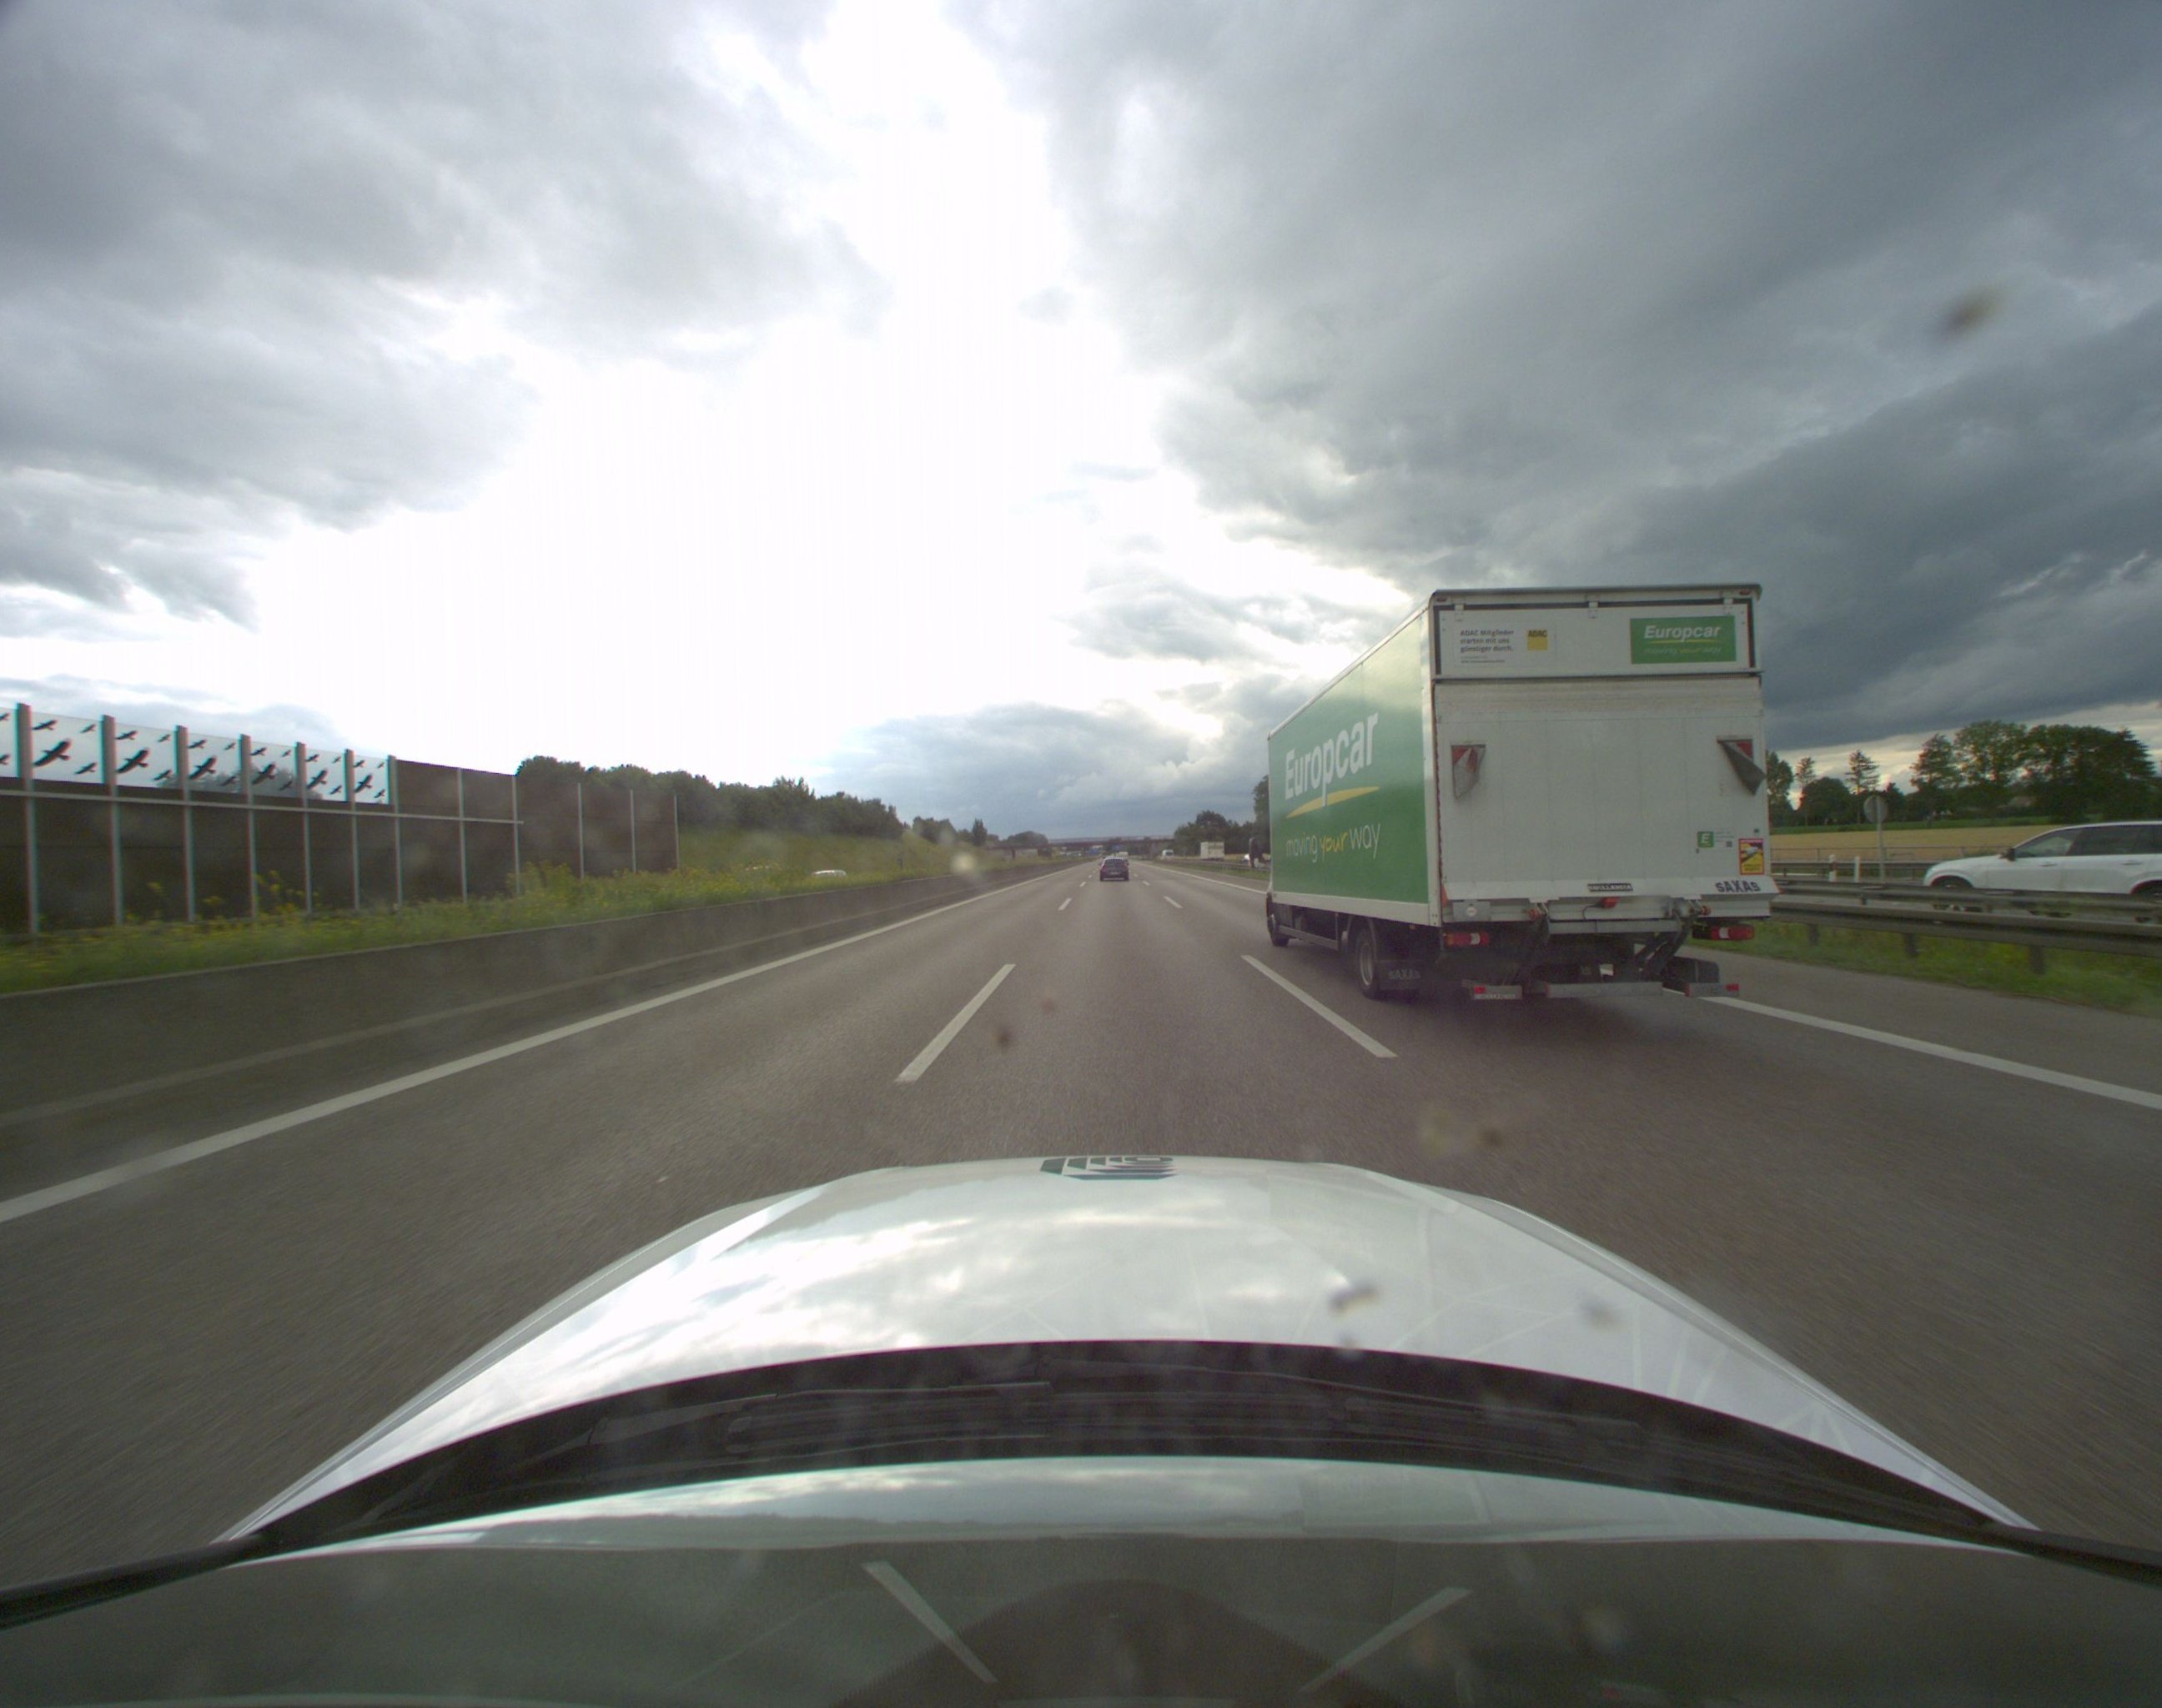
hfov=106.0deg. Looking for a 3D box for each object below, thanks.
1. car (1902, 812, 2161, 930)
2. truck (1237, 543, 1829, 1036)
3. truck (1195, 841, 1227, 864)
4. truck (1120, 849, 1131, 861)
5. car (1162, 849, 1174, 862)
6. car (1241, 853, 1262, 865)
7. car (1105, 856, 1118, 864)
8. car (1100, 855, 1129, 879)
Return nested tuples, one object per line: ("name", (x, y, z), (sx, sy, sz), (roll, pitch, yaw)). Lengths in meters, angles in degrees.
("car", (17.018, 0.225, 13.474), (1.821, 1.757, 5.068), (-2, 0, 2))
("truck", (4.110, -0.459, 10.397), (2.759, 3.504, 9.066), (-1, 0, 2))
("truck", (20.473, -0.256, 128.458), (3.098, 3.471, 8.879), (0, 0, -3))
("truck", (11.816, 0.238, 217.365), (2.700, 2.964, 12.451), (0, 0, 2))
("car", (18.480, 0.374, 173.041), (2.213, 2.568, 6.259), (-2, 0, 2))
("car", (23.201, 0.681, 110.980), (1.911, 1.550, 4.923), (-3, 0, 0))
("car", (4.959, 0.979, 133.663), (1.986, 1.298, 4.001), (-3, 0, 1))
("car", (2.079, 0.794, 50.583), (1.736, 1.389, 4.002), (-1, 0, 2))
